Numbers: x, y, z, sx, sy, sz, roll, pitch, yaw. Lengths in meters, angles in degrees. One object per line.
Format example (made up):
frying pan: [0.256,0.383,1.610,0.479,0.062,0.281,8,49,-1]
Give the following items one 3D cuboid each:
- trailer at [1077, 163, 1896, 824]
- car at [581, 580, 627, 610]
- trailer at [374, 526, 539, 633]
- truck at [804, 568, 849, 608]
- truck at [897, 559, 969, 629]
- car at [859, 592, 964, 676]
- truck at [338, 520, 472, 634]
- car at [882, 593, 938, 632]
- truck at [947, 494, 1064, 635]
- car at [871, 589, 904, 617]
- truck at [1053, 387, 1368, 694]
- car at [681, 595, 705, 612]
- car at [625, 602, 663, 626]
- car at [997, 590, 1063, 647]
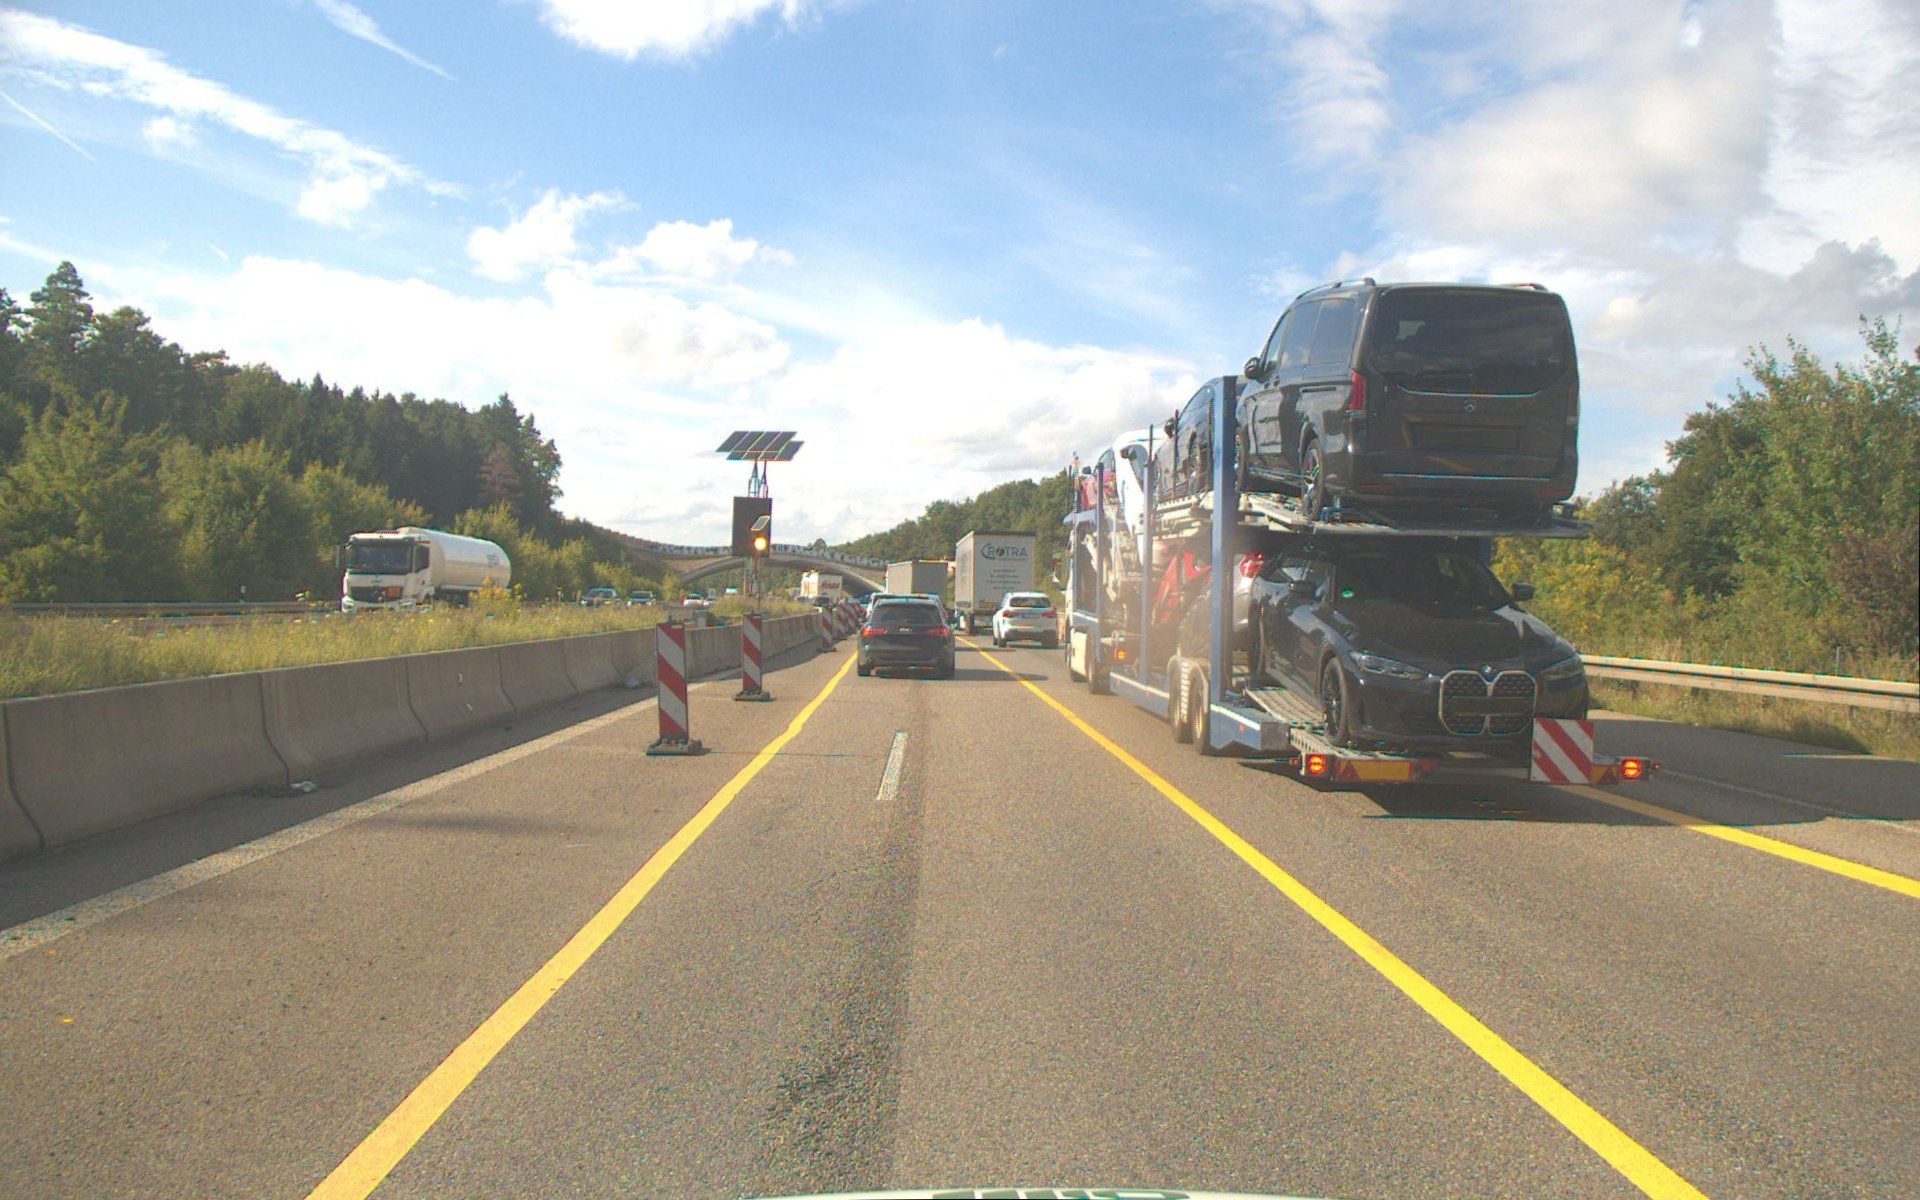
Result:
trailer: [4.063,-0.675,18.994,3.651,4.269,16.220,1,0,-2]
car: [-20.186,-0.269,93.937,1.742,1.630,4.017,1,0,0]
trailer: [-18.284,-0.675,60.960,2.745,3.550,11.111,1,0,-1]
truck: [-14.090,-1.241,173.216,3.588,3.997,11.039,1,0,-10]
truck: [-2.052,-0.405,118.160,4.236,4.681,11.111,1,0,-6]
car: [-0.886,0.622,31.692,1.852,1.472,4.000,1,0,0]
truck: [-18.210,-0.726,54.577,2.728,3.551,4.939,1,0,0]
car: [-2.002,0.488,65.540,1.854,1.472,3.994,1,0,-7]
truck: [1.734,-1.377,72.804,3.605,5.447,16.189,1,0,-4]
car: [-4.584,0.191,104.590,1.854,1.672,4.013,1,0,-6]
truck: [3.777,-0.825,27.398,3.686,4.270,7.947,1,0,-2]
car: [-26.842,0.355,166.569,1.742,1.630,4.017,1,0,0]
car: [-22.730,1.003,119.113,1.919,1.616,4.480,1,0,-2]
car: [2.135,0.555,51.552,1.852,1.672,4.017,1,0,0]
